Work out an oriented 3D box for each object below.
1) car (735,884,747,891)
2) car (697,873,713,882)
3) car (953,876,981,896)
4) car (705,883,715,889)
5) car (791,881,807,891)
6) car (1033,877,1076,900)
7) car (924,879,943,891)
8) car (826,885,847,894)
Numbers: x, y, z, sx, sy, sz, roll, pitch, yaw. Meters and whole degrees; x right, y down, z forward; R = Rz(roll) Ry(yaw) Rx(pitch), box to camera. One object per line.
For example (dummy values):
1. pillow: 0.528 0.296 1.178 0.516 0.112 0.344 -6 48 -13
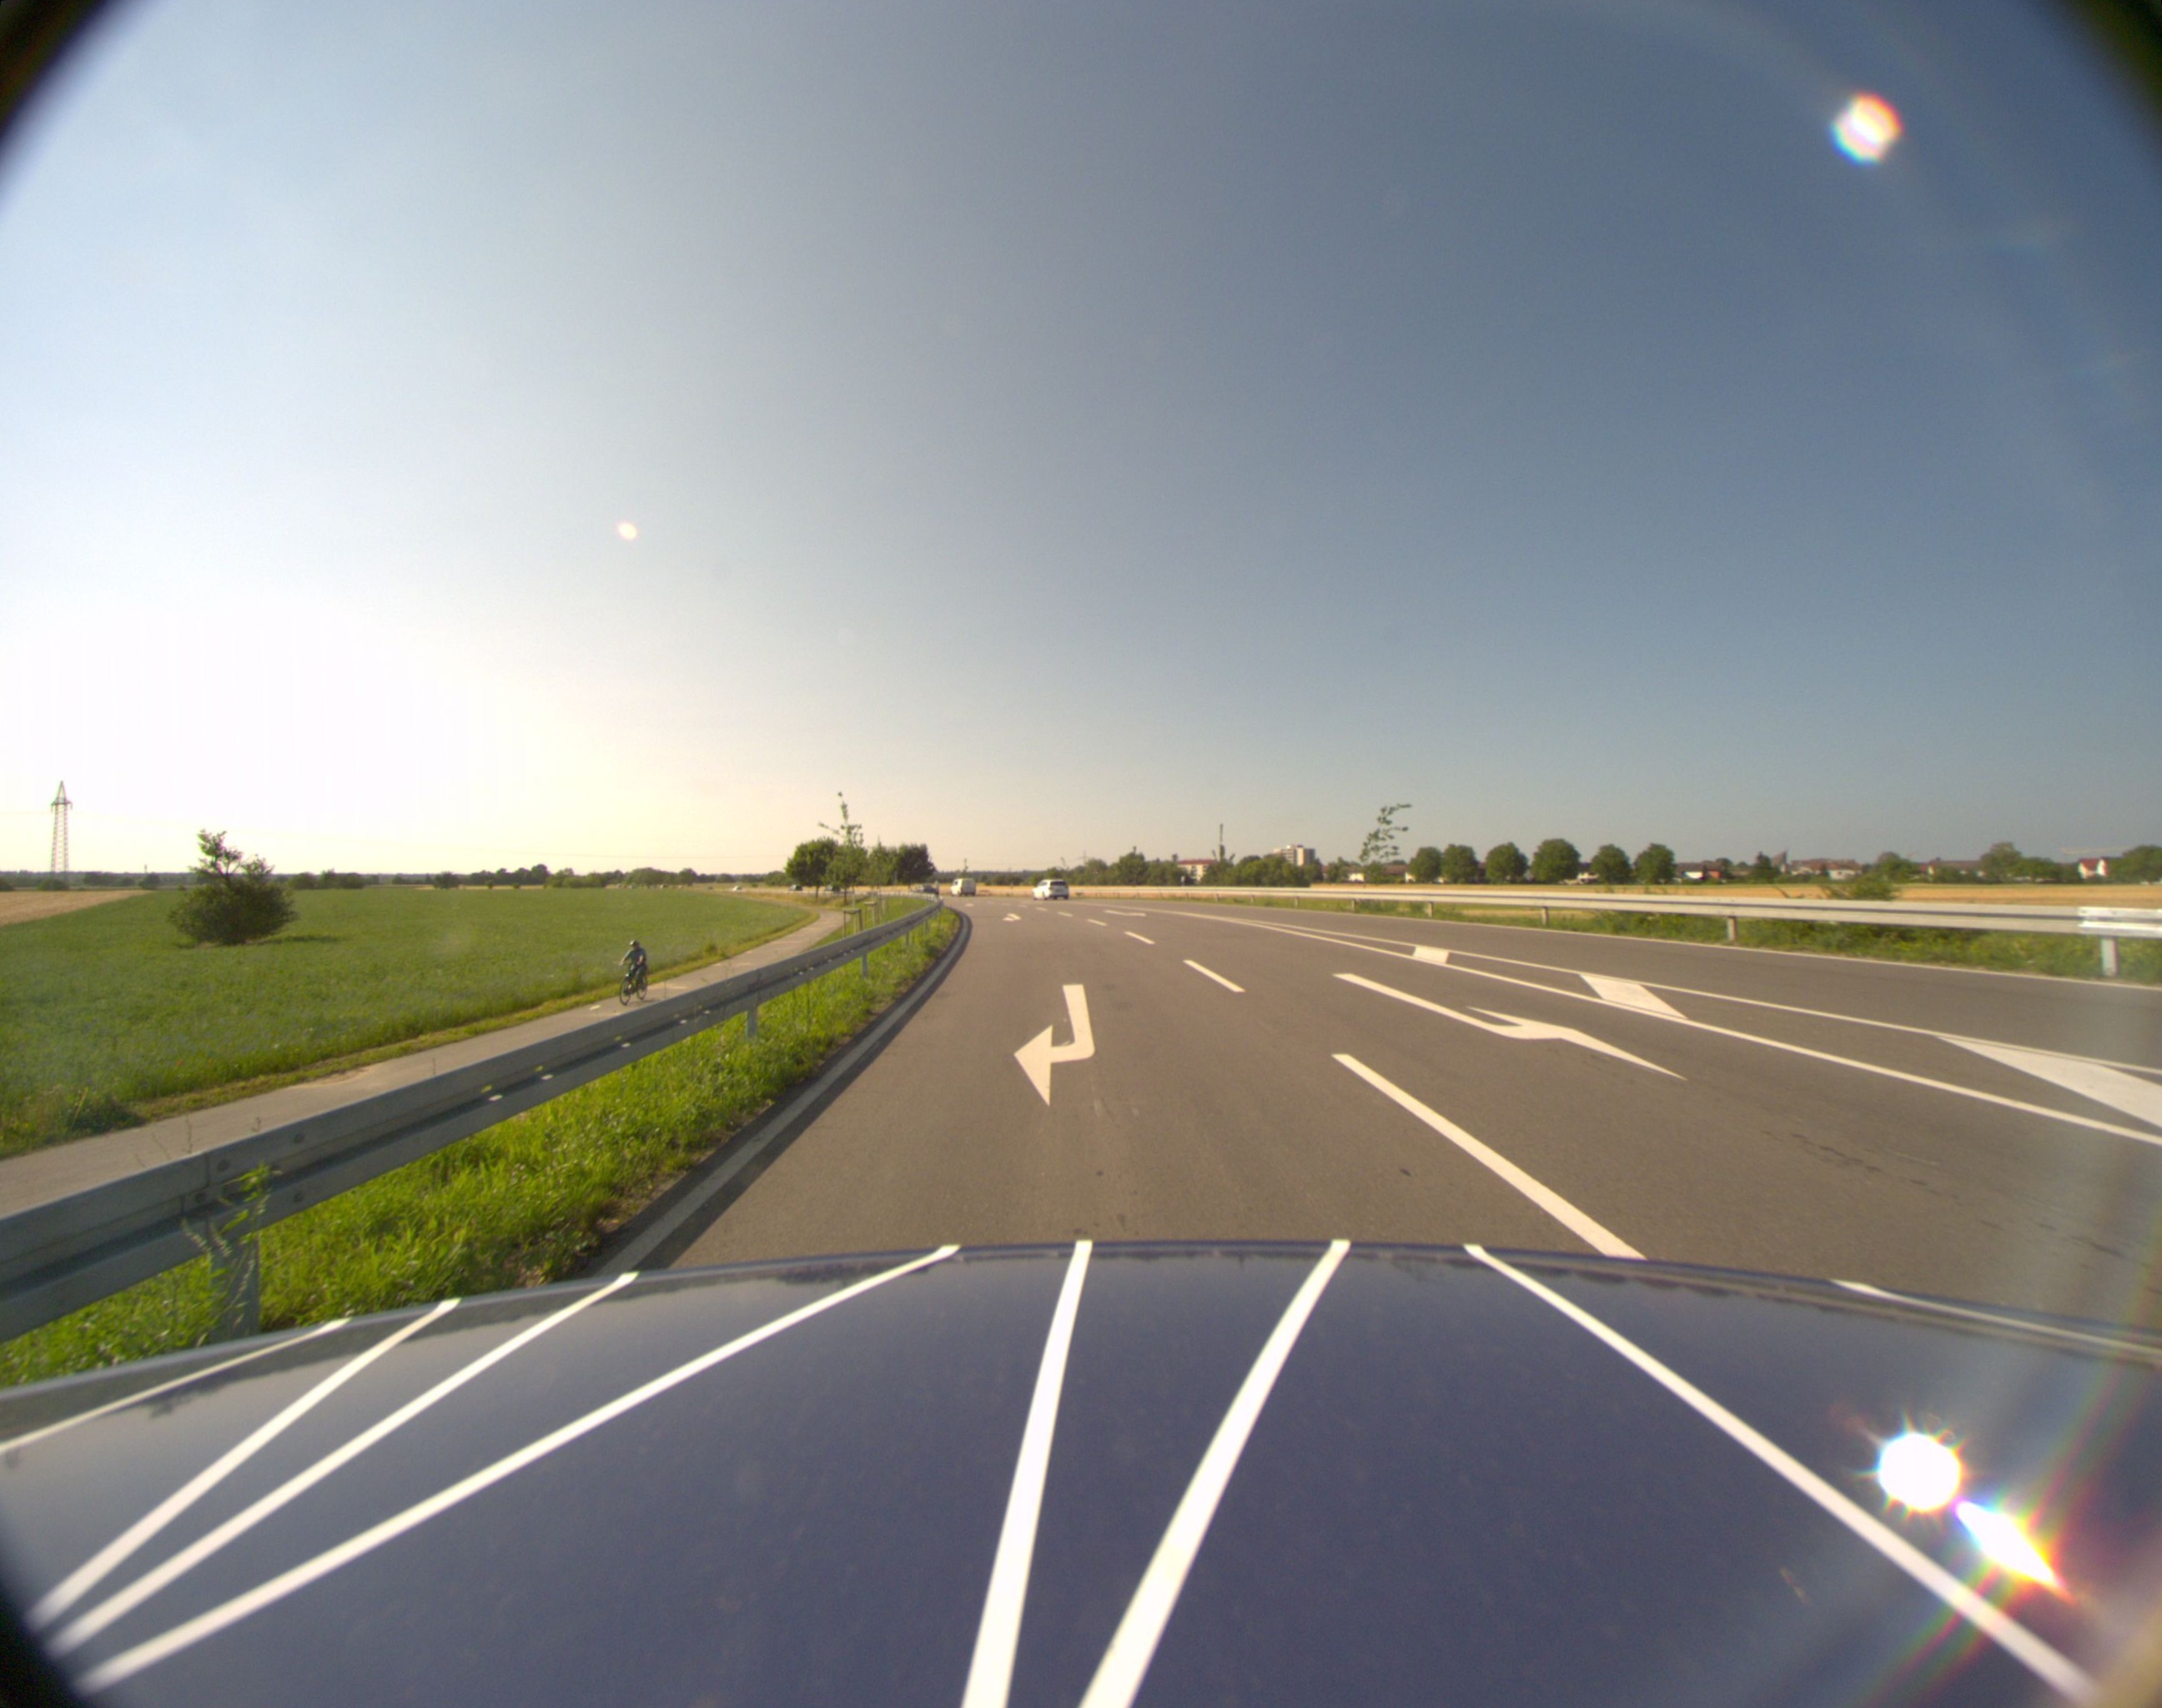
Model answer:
1. car: -86.512 8.504 193.223 1.862 1.440 4.143 -2 0 -37
2. car: -95.065 5.881 192.259 2.822 2.002 6.088 -2 0 -34
3. car: -13.074 3.664 87.033 2.124 2.000 5.148 -2 -3 -21
4. car: -108.017 9.364 221.239 1.847 1.535 4.233 -2 1 -39
5. car: -56.922 6.521 153.181 1.891 1.787 5.079 -2 1 -32
6. car: -2.042 2.586 56.107 2.123 1.483 5.150 -2 -3 -14
7. car: -19.181 4.040 98.757 1.801 1.439 4.701 -2 -3 -17
8. car: -43.659 6.392 135.766 2.004 1.583 4.851 0 -2 -38
